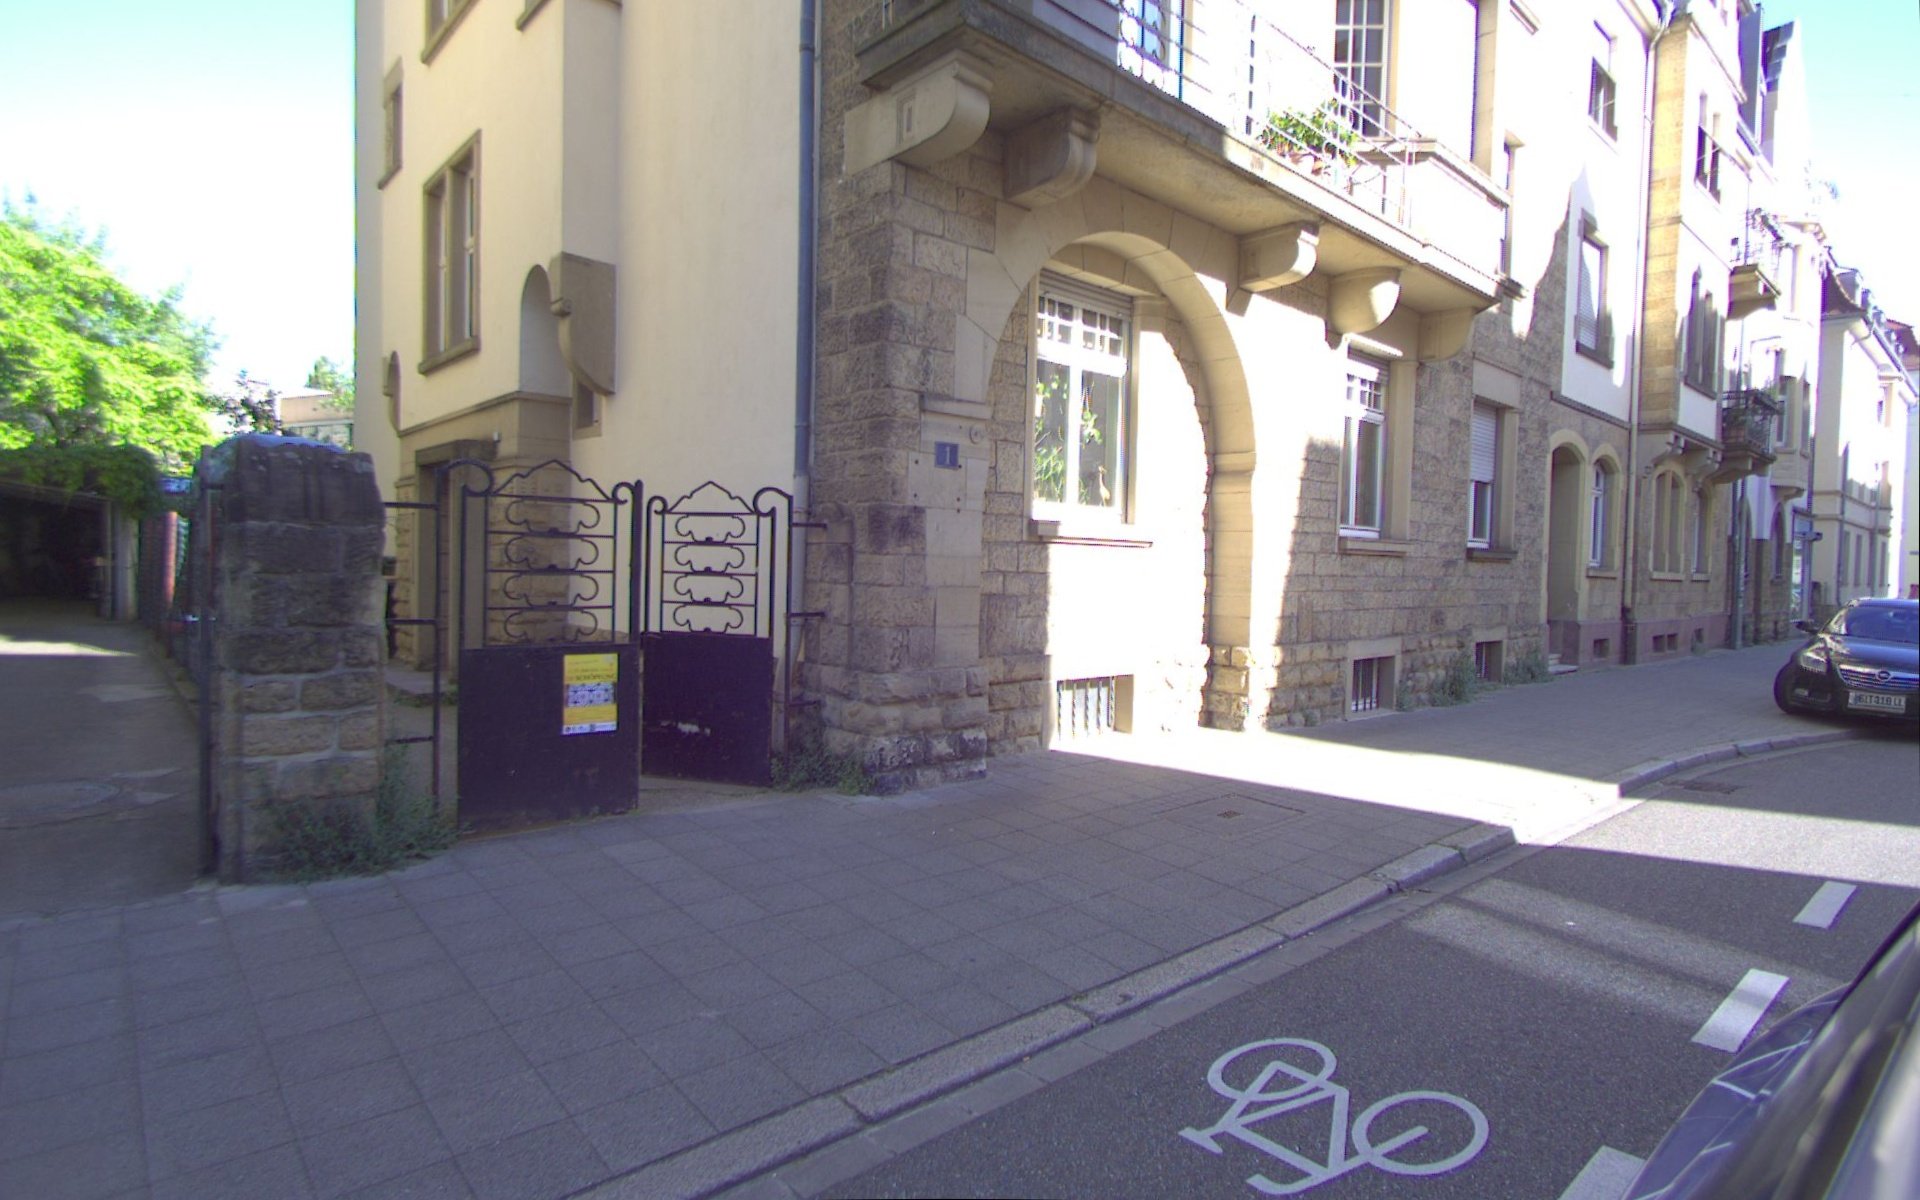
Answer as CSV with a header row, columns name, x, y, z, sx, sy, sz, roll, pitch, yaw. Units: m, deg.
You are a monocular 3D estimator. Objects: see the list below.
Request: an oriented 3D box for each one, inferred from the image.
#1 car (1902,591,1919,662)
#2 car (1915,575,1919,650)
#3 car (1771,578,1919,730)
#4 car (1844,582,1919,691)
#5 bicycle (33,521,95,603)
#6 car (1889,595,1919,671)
name,x,y,z,sx,sy,sz,roll,pitch,yaw
car,22.171,0.582,22.188,4.247,1.440,1.823,-1,4,-42
car,26.191,0.337,26.007,4.247,1.860,2.004,-1,4,-42
car,11.505,0.570,12.183,4.043,1.526,2.023,-1,5,-42
car,15.531,0.566,15.863,4.247,1.527,2.004,0,3,-42
bicycle,-18.302,-0.813,20.721,0.903,1.530,2.672,0,4,-41
car,18.794,0.619,18.967,3.667,1.295,1.659,-1,4,-42
